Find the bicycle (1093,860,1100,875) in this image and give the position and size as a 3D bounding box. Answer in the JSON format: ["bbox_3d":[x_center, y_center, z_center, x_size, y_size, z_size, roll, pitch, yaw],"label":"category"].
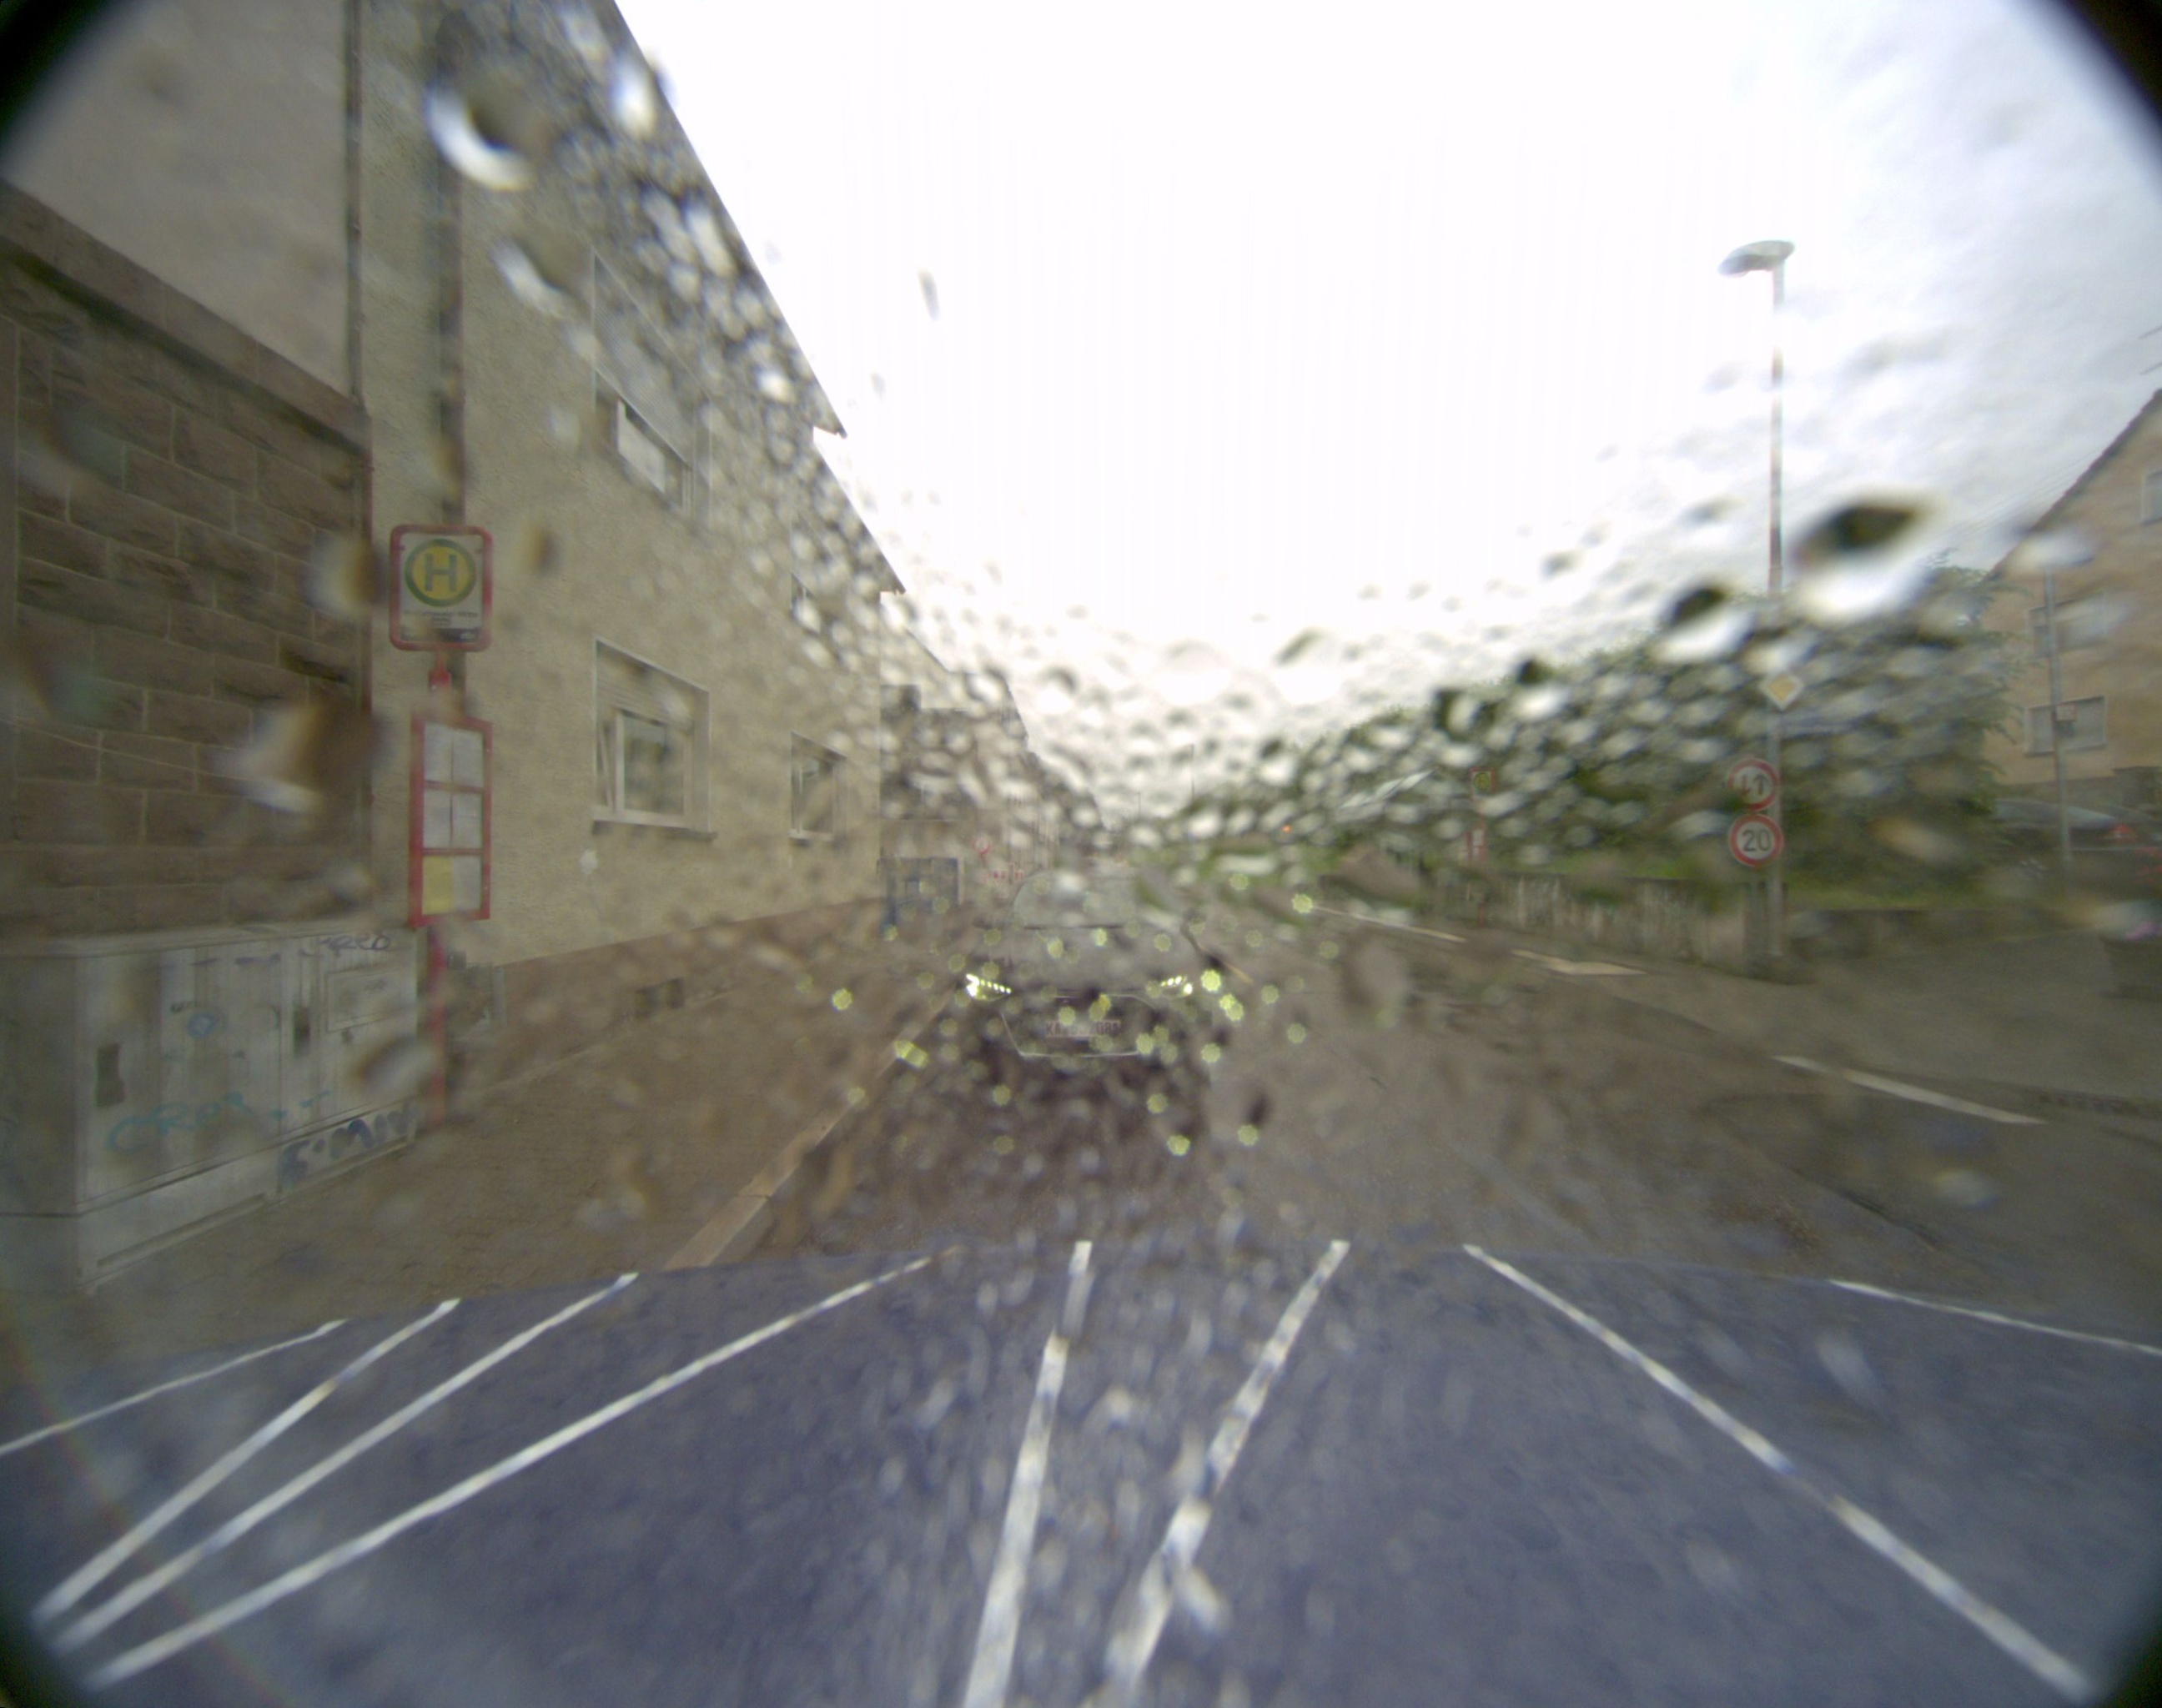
[{"bbox_3d":[1.073,0.920,51.900,0.407,1.023,1.221,1,1,2],"label":"bicycle"}]

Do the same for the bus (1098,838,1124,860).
[{"bbox_3d":[4.208,-0.758,109.352,2.685,2.987,14.541,1,1,-1],"label":"bus"}]

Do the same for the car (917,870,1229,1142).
[{"bbox_3d":[-0.023,0.965,6.834,1.851,1.444,4.531,1,1,1],"label":"car"}]

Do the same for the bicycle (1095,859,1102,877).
[{"bbox_3d":[1.132,0.896,49.664,0.407,1.137,1.221,1,1,2],"label":"bicycle"}]

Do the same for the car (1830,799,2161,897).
[{"bbox_3d":[15.877,-0.200,13.090,1.749,1.382,4.220,-1,3,0],"label":"car"}]
